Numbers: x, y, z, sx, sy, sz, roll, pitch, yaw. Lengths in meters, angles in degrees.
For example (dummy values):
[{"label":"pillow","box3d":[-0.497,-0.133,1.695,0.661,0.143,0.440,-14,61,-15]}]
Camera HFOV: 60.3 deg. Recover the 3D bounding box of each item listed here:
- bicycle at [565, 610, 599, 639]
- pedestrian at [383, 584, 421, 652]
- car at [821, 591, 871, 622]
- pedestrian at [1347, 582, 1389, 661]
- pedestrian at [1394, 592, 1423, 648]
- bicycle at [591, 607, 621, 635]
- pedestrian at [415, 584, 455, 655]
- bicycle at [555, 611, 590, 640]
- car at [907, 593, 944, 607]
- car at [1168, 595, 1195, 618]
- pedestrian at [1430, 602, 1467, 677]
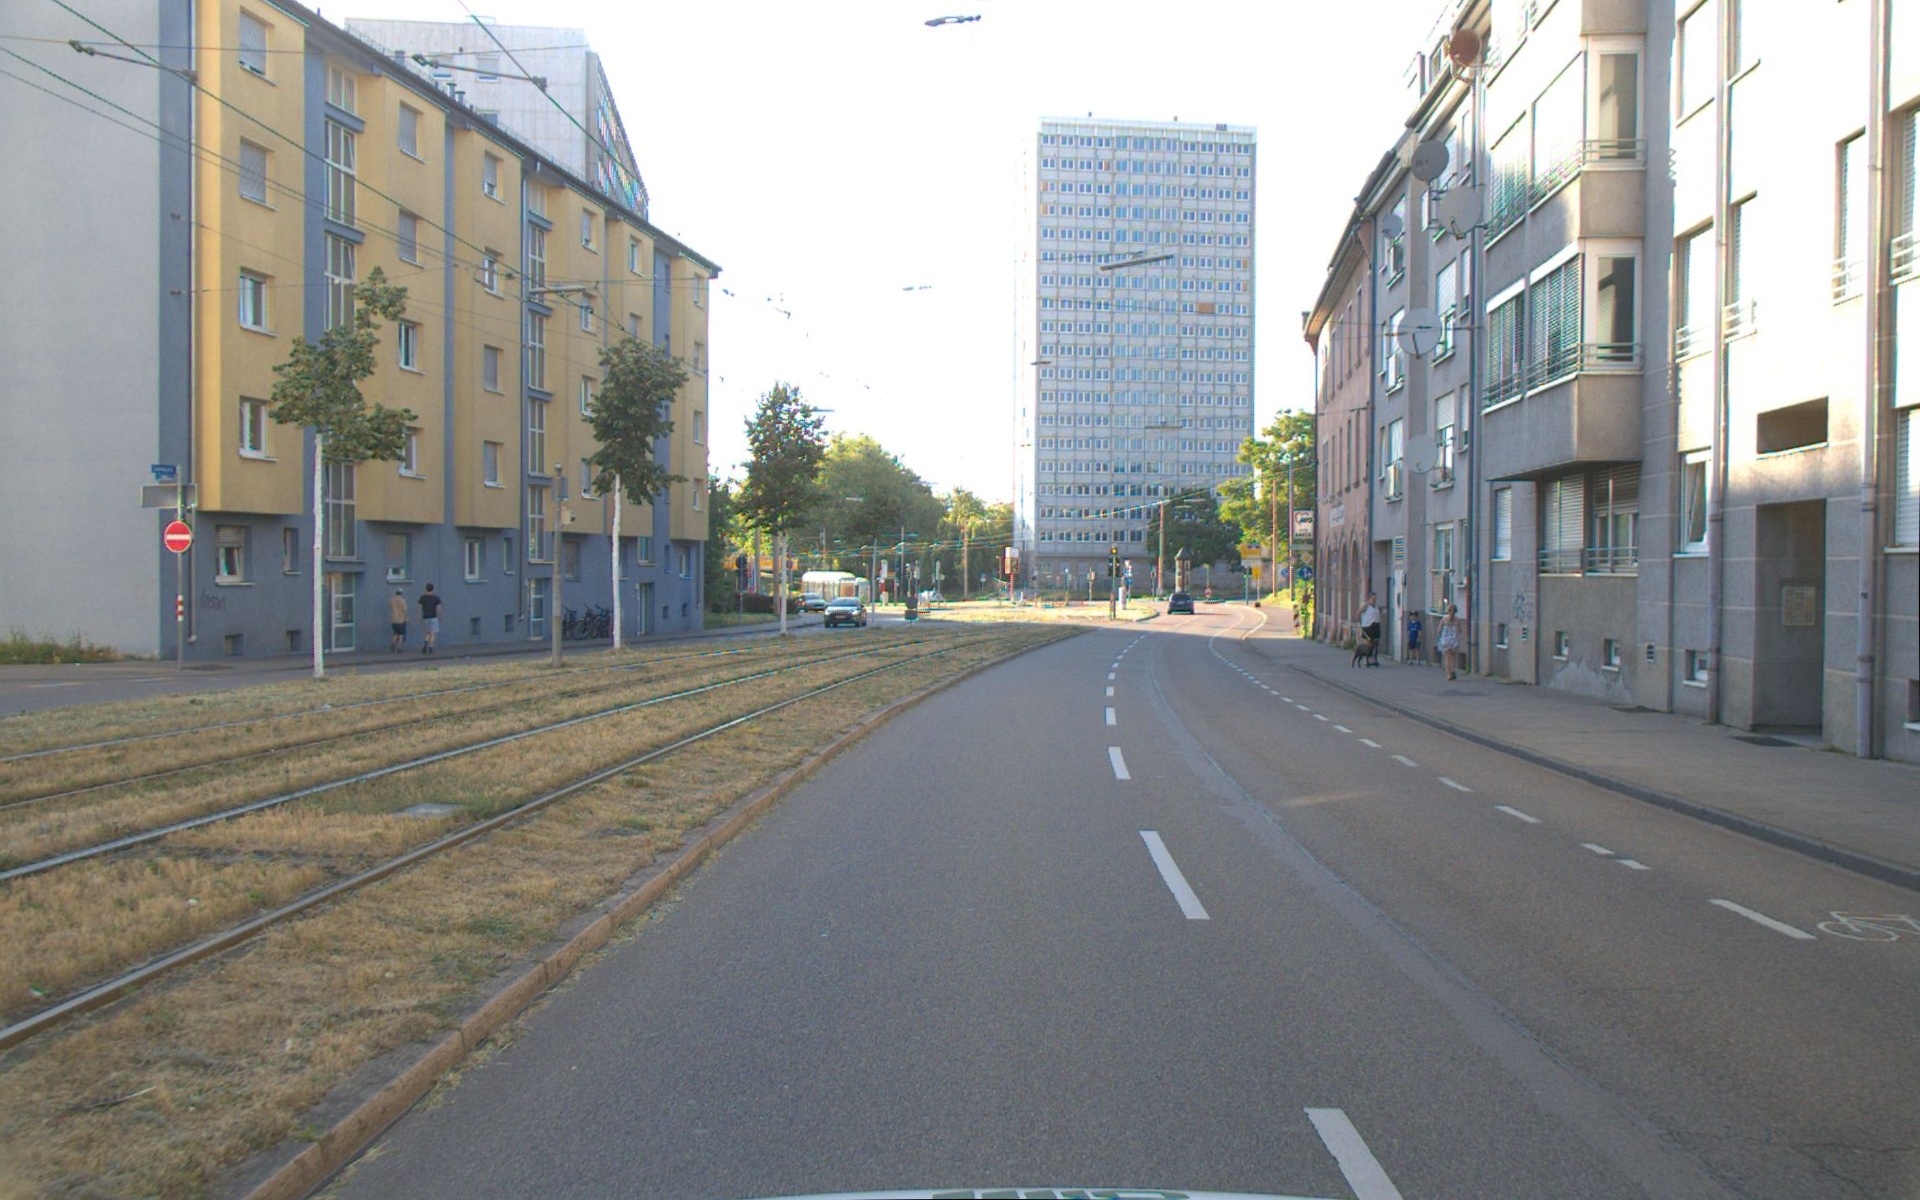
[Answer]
[{"label":"bicycle","box3d":[-13.110,0.829,57.385,0.418,0.941,1.913,4,1,8]},{"label":"pedestrian","box3d":[-14.677,0.458,43.512,0.603,1.723,0.707,5,1,6]},{"label":"car","box3d":[-5.814,0.330,85.122,1.755,1.494,4.799,-2,0,6]},{"label":"pedestrian","box3d":[9.550,0.492,38.734,0.812,1.802,0.996,0,0,7]},{"label":"pedestrian","box3d":[10.456,0.461,38.556,0.575,1.273,0.585,0,0,7]},{"label":"bicycle","box3d":[-12.789,0.756,59.747,0.418,0.976,1.913,0,0,8]},{"label":"pedestrian","box3d":[-13.908,0.505,43.816,0.580,1.803,0.886,4,1,6]},{"label":"bicycle","box3d":[-13.134,0.853,56.104,0.418,0.941,1.913,3,1,8]},{"label":"car","box3d":[-3.985,0.025,191.290,3.927,1.556,1.989,1,1,41]},{"label":"car","box3d":[14.918,0.404,111.052,1.734,1.447,3.859,0,1,8]},{"label":"pedestrian","box3d":[9.068,0.730,30.728,0.503,1.368,0.609,-1,-1,3]}]
